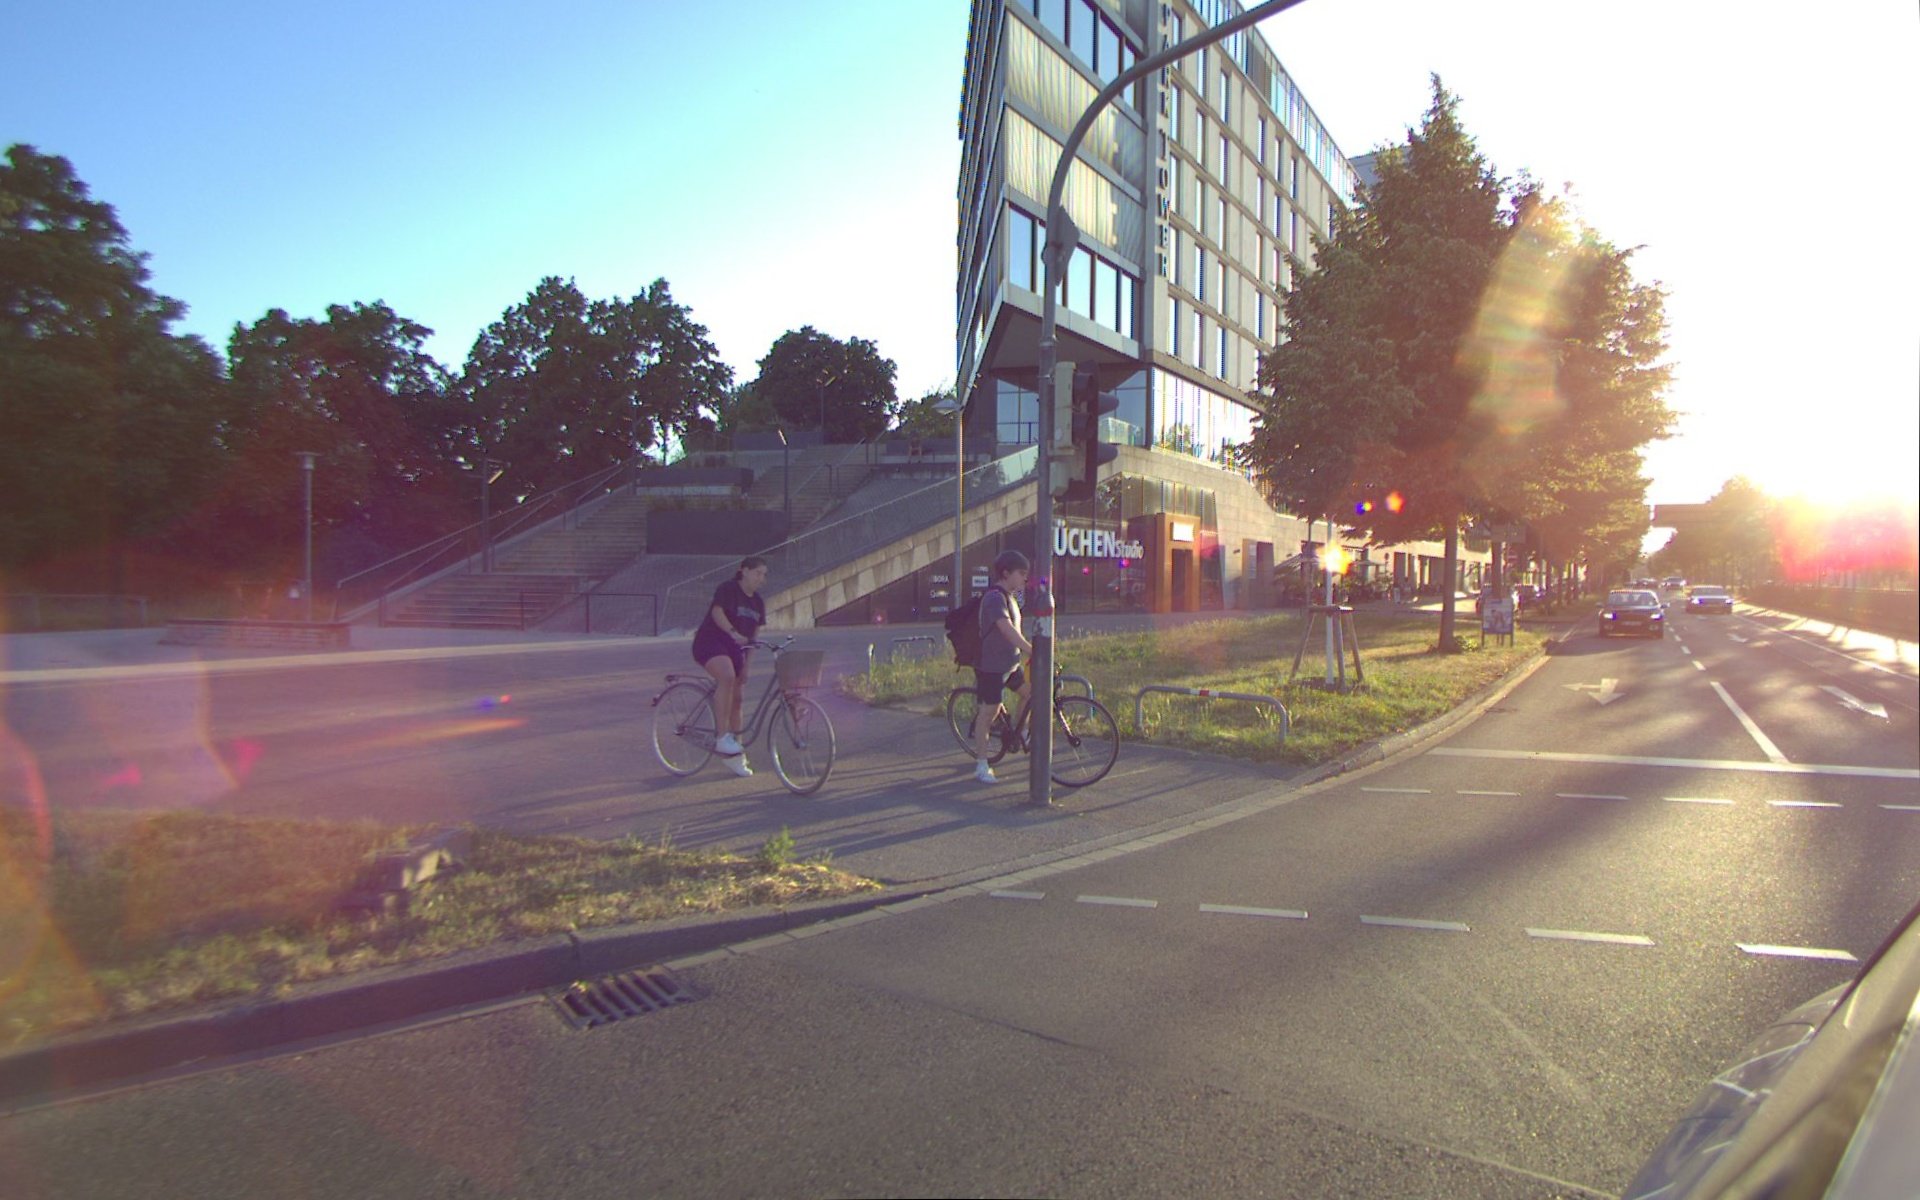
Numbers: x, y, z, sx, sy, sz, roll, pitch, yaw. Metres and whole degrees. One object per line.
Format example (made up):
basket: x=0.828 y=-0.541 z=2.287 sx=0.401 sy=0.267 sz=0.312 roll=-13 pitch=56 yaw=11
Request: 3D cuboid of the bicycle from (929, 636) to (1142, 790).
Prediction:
bicycle: x=0.559 y=0.855 z=8.201 sx=1.856 sy=1.035 sz=0.431 roll=1 pitch=1 yaw=43

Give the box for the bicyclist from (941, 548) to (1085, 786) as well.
bicyclist: x=0.424 y=0.487 z=8.121 sx=0.846 sy=1.777 sz=0.792 roll=1 pitch=1 yaw=42

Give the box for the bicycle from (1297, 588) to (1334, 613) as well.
bicycle: x=13.165 y=0.007 z=37.457 sx=0.547 sy=0.862 sz=2.610 roll=1 pitch=1 yaw=36

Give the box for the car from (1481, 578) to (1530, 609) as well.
car: x=27.423 y=-0.370 z=50.837 sx=1.791 sy=1.482 sz=3.951 roll=1 pitch=1 yaw=34

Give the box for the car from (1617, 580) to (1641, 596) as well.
car: x=64.273 y=-1.146 z=97.248 sx=1.880 sy=1.499 sz=4.002 roll=1 pitch=2 yaw=34

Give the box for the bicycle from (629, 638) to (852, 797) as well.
bicycle: x=-1.675 y=0.843 z=7.598 sx=1.844 sy=1.035 sz=0.305 roll=1 pitch=1 yaw=26

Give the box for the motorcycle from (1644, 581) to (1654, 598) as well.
motorcycle: x=47.750 y=-0.733 z=70.084 sx=0.554 sy=1.114 sz=2.133 roll=1 pitch=1 yaw=35

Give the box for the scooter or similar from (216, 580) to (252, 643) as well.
scooter or similar: x=-14.778 y=0.219 z=20.576 sx=0.360 sy=1.235 sz=1.573 roll=0 pitch=1 yaw=-45

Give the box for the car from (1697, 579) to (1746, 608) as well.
car: x=39.289 y=-0.356 z=52.269 sx=1.791 sy=1.441 sz=4.394 roll=1 pitch=1 yaw=34

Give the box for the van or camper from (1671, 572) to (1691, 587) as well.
van or camper: x=97.679 y=-2.846 z=137.202 sx=1.986 sy=1.982 sz=5.265 roll=1 pitch=2 yaw=34

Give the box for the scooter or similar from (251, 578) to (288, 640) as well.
scooter or similar: x=-14.351 y=0.162 z=21.010 sx=0.360 sy=1.235 sz=1.573 roll=0 pitch=1 yaw=-45

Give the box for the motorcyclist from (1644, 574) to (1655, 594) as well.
motorcyclist: x=47.969 y=-1.109 z=70.400 sx=0.632 sy=1.426 sz=0.587 roll=1 pitch=1 yaw=35

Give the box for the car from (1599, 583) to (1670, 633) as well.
car: x=21.702 y=0.200 z=32.562 sx=1.791 sy=1.482 sz=3.951 roll=1 pitch=1 yaw=34

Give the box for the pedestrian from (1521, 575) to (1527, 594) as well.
pedestrian: x=60.747 y=-1.654 z=108.934 sx=0.535 sy=2.039 sz=0.521 roll=1 pitch=1 yaw=34

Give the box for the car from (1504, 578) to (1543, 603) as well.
car: x=35.272 y=-0.618 z=63.266 sx=1.791 sy=1.482 sz=3.951 roll=1 pitch=1 yaw=34

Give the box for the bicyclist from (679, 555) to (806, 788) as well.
bicyclist: x=-1.650 y=0.502 z=7.715 sx=0.677 sy=1.668 sz=0.678 roll=1 pitch=1 yaw=25

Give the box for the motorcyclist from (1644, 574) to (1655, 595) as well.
motorcyclist: x=47.594 y=-1.090 z=69.857 sx=0.632 sy=1.434 sz=0.706 roll=1 pitch=1 yaw=35
